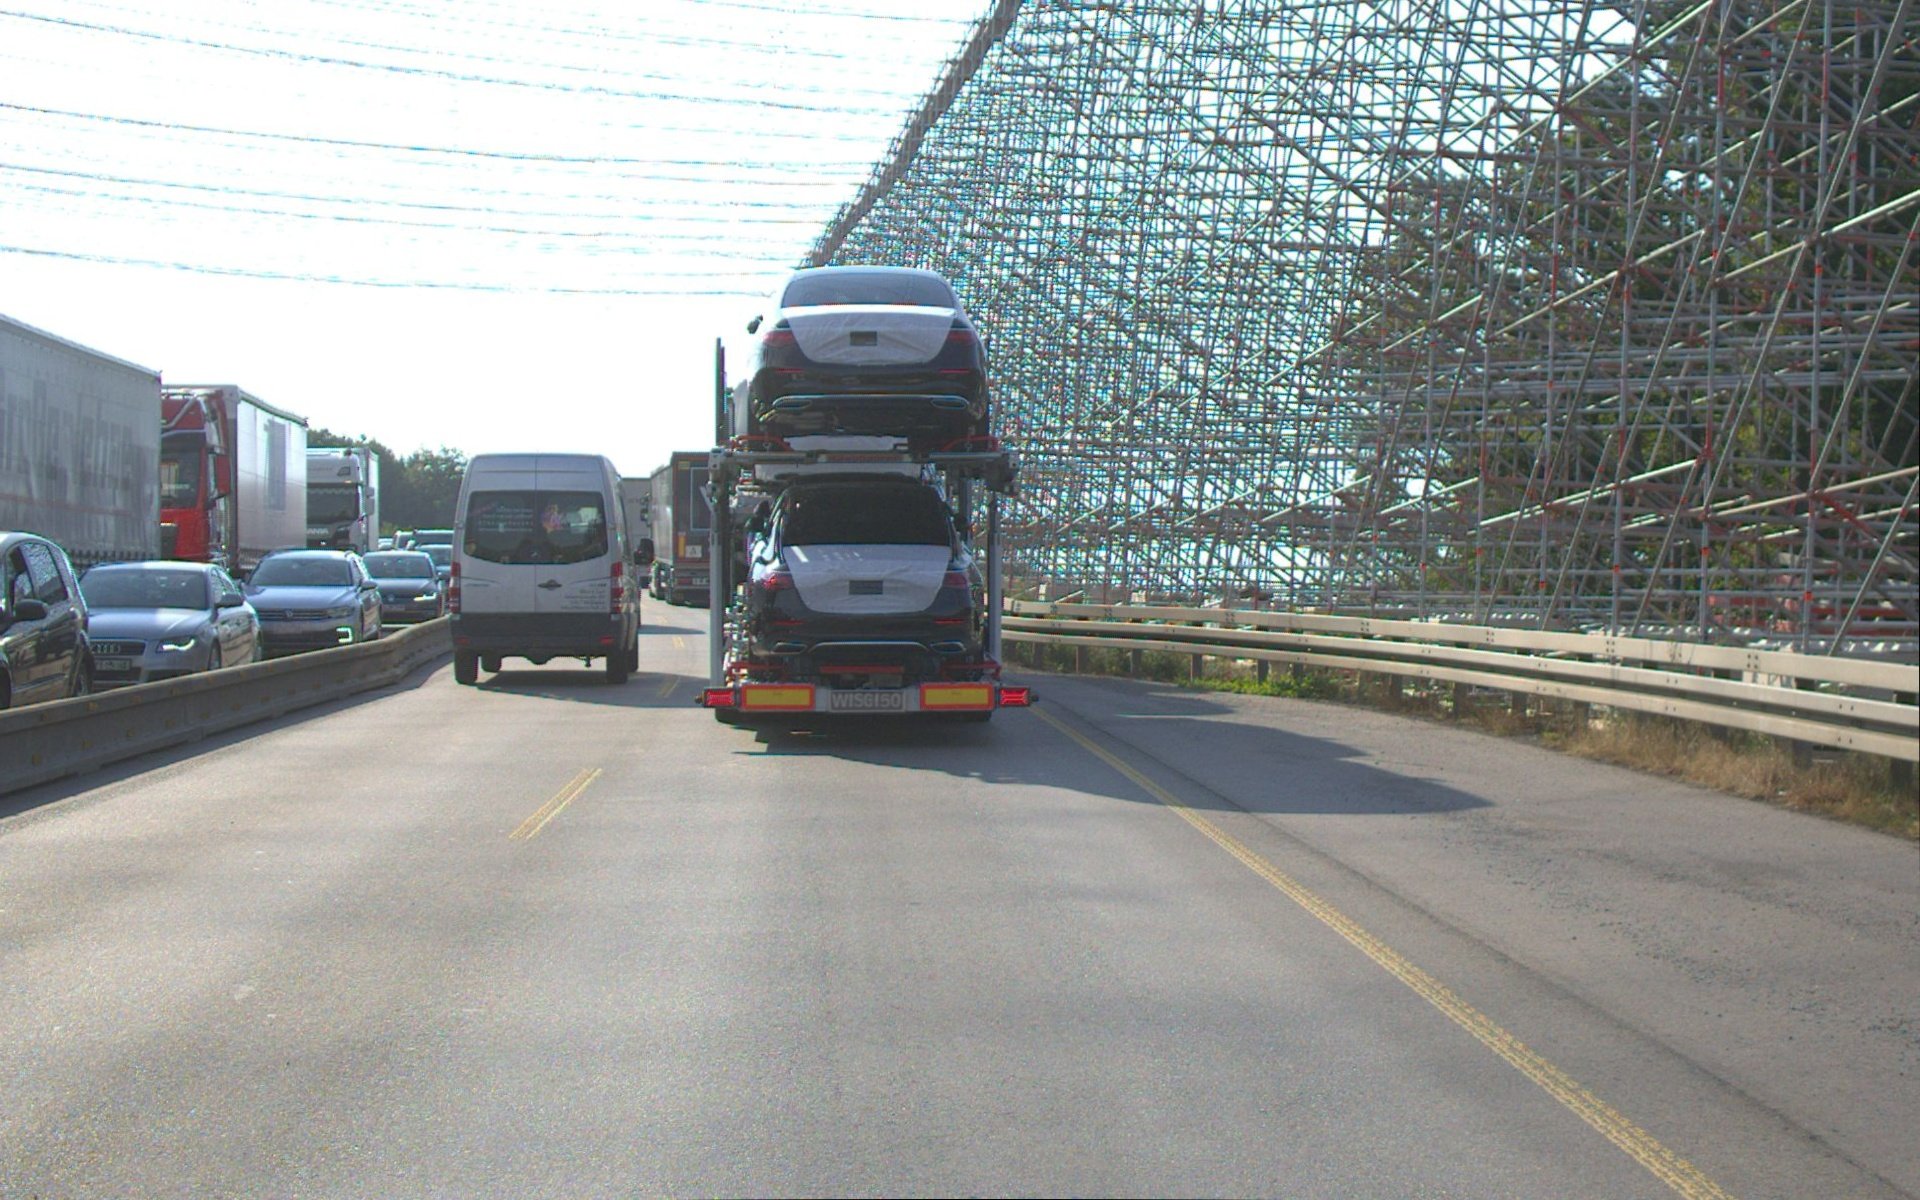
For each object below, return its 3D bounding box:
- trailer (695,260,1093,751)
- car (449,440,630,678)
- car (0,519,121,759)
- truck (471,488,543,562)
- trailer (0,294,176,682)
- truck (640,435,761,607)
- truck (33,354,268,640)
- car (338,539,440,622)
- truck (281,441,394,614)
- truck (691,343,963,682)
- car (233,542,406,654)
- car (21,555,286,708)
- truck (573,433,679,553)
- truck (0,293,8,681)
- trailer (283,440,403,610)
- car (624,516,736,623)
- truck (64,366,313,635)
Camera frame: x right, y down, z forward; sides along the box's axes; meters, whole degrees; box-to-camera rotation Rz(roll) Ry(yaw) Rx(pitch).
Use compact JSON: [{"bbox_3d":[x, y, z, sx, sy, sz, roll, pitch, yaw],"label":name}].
[{"bbox_3d":[-1.070,-0.790,33.533,2.868,3.712,14.950,0,1,-5],"label":"trailer"},{"bbox_3d":[-4.843,-0.461,39.942,1.956,2.612,4.001,-1,0,-6],"label":"car"},{"bbox_3d":[-7.504,0.242,25.016,1.752,1.652,4.863,0,1,-2],"label":"car"},{"bbox_3d":[-24.035,-3.981,181.961,2.615,3.711,9.662,1,1,-14],"label":"truck"},{"bbox_3d":[-11.881,-1.244,40.804,2.798,4.127,13.968,0,1,-4],"label":"trailer"},{"bbox_3d":[-7.193,-2.151,93.930,2.731,4.370,11.524,1,1,-7],"label":"truck"},{"bbox_3d":[-12.377,-1.517,53.081,2.787,4.127,6.681,0,1,-7],"label":"truck"},{"bbox_3d":[-10.625,-0.391,64.180,1.650,1.459,4.401,1,1,-7],"label":"car"},{"bbox_3d":[-15.668,-1.805,86.791,2.662,4.215,6.106,0,1,-9],"label":"truck"},{"bbox_3d":[-1.735,-0.993,41.213,2.881,3.690,7.326,0,1,-5],"label":"truck"},{"bbox_3d":[-9.027,-0.051,48.802,1.732,1.434,4.838,3,1,-3],"label":"car"},{"bbox_3d":[-8.066,0.264,34.780,1.731,1.373,4.892,2,1,-3],"label":"car"},{"bbox_3d":[-12.866,-4.029,132.256,3.686,4.206,13.671,-3,1,-6],"label":"truck"},{"bbox_3d":[-11.447,-1.176,33.954,2.787,4.127,5.935,0,1,-4],"label":"truck"},{"bbox_3d":[-16.664,-2.028,93.519,2.653,4.219,13.923,1,1,-8],"label":"trailer"},{"bbox_3d":[-5.397,-0.590,66.763,1.993,2.007,4.000,1,0,-2],"label":"car"},{"bbox_3d":[-13.157,-1.599,59.773,2.787,4.127,13.811,0,1,-7],"label":"truck"}]
